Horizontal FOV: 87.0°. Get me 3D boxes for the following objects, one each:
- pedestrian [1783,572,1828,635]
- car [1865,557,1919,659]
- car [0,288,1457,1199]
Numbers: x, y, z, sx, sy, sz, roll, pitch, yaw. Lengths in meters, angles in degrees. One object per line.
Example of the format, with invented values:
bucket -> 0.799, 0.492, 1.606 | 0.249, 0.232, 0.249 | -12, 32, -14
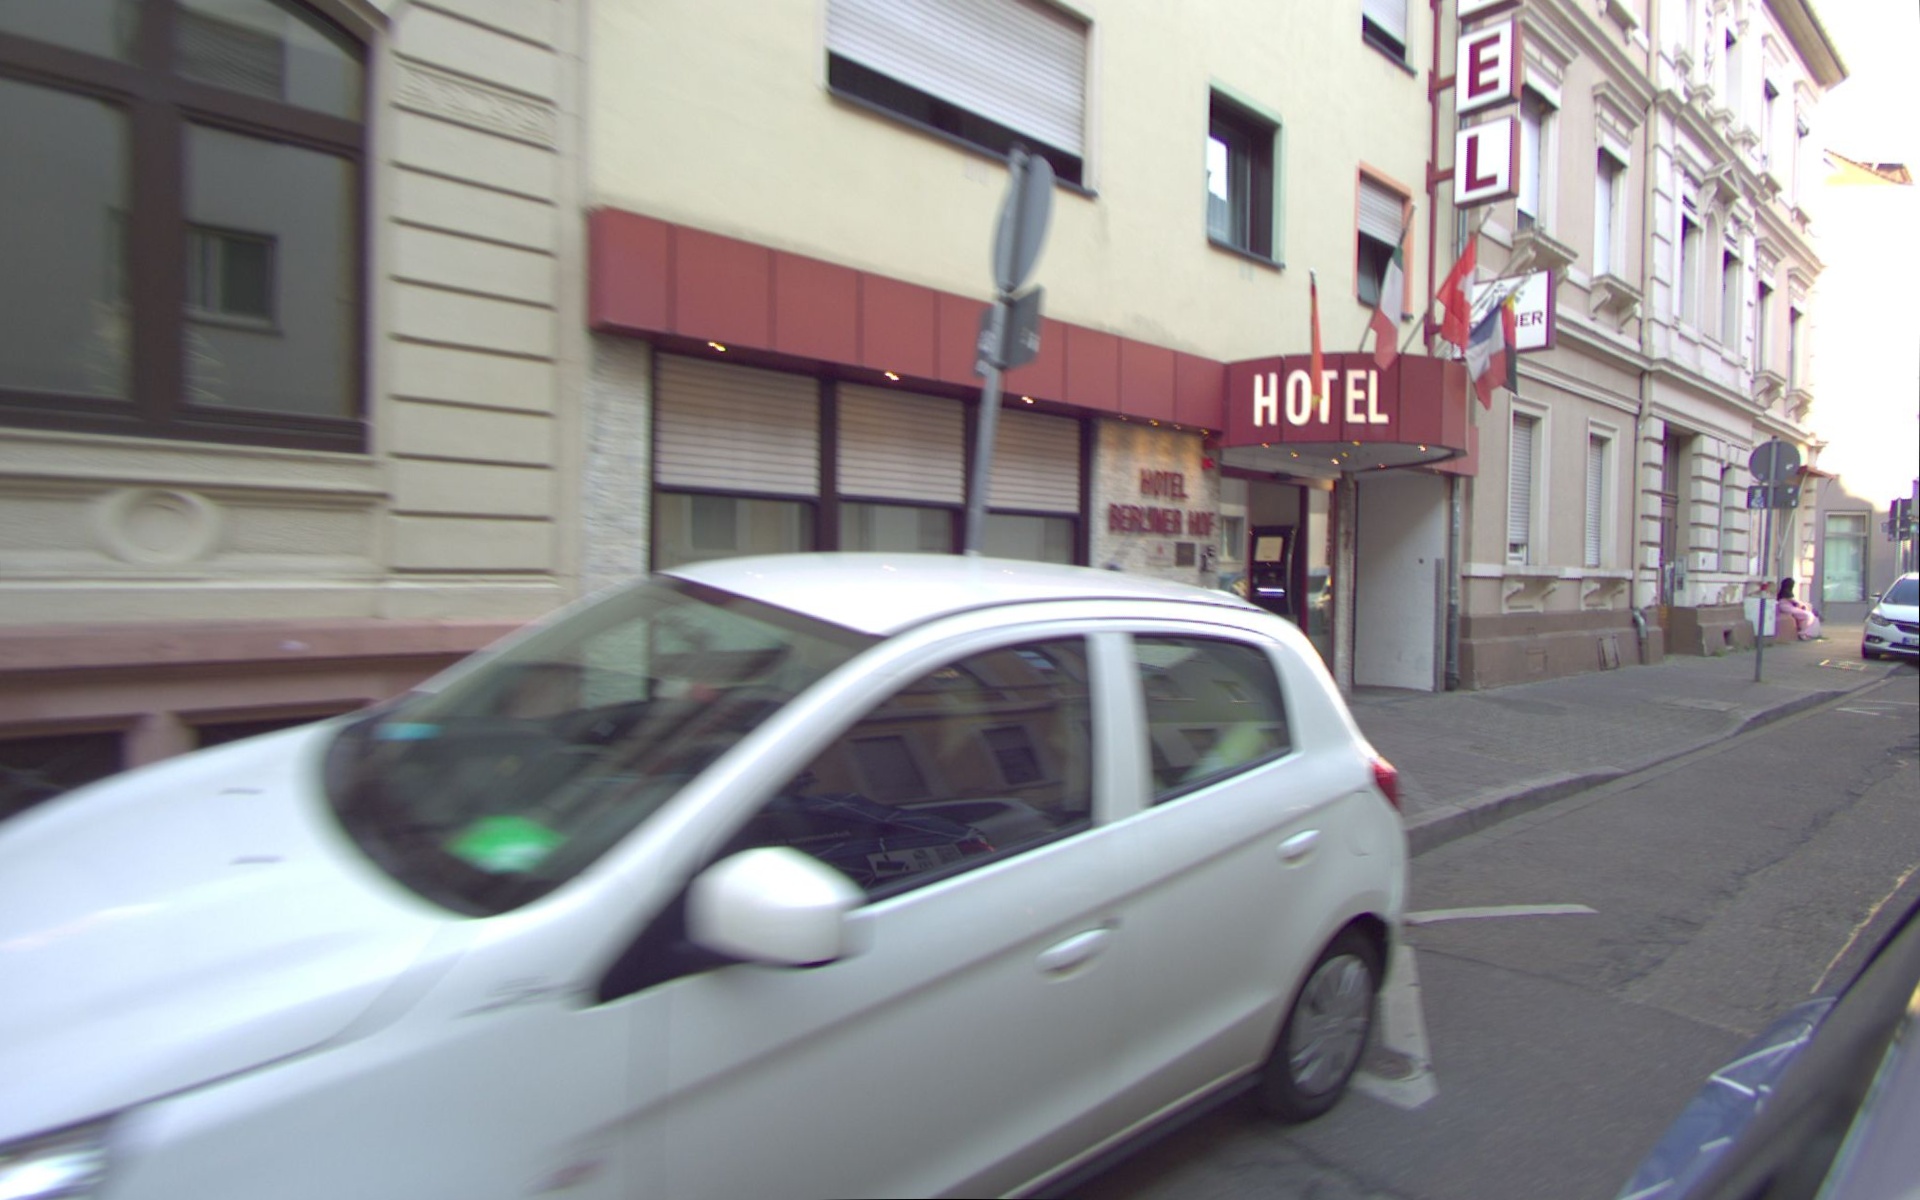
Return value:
pedestrian -> 19.580, 0.064, 23.444 | 0.475, 1.441, 0.696 | 0, 1, -38
car -> 18.466, 0.176, 18.679 | 4.280, 1.715, 1.843 | 0, 6, -39
car -> -0.364, 0.477, 2.497 | 3.526, 1.598, 1.573 | 0, 1, -40
